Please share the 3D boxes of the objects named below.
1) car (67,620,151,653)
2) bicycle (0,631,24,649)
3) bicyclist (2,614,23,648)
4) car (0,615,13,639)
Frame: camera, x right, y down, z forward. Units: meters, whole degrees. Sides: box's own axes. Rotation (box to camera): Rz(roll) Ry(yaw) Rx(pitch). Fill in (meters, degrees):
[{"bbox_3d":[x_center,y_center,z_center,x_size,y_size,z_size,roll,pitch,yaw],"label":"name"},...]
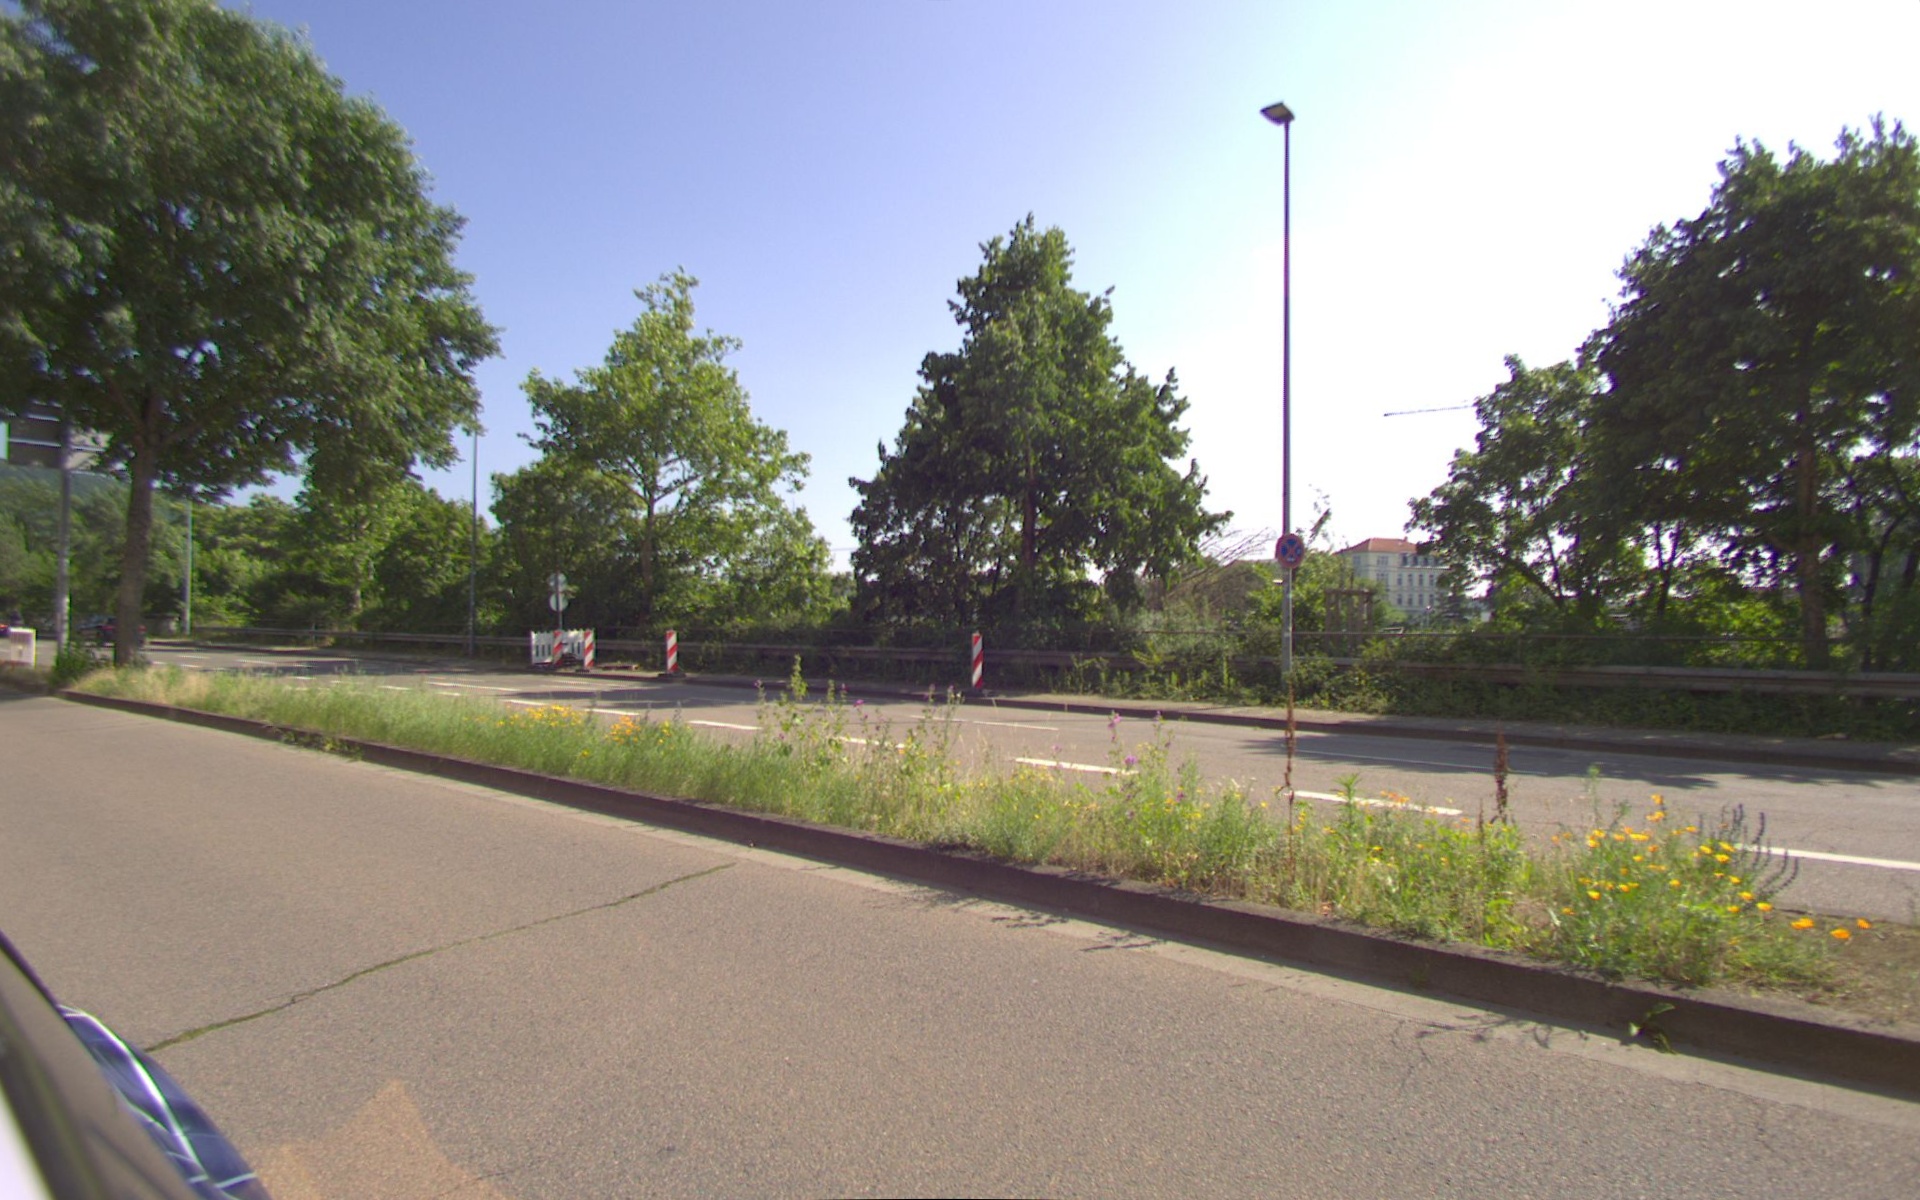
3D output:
[{"bbox_3d":[-41.485,1.761,49.309,4.687,1.540,1.976,-1,-3,35],"label":"car"},{"bbox_3d":[-43.969,1.845,46.922,1.803,0.839,0.489,-1,-3,38],"label":"bicycle"},{"bbox_3d":[-43.985,1.441,46.958,0.778,1.545,0.568,-1,-2,38],"label":"bicyclist"},{"bbox_3d":[-59.968,1.618,61.744,4.598,1.422,1.979,0,-3,31],"label":"car"}]
